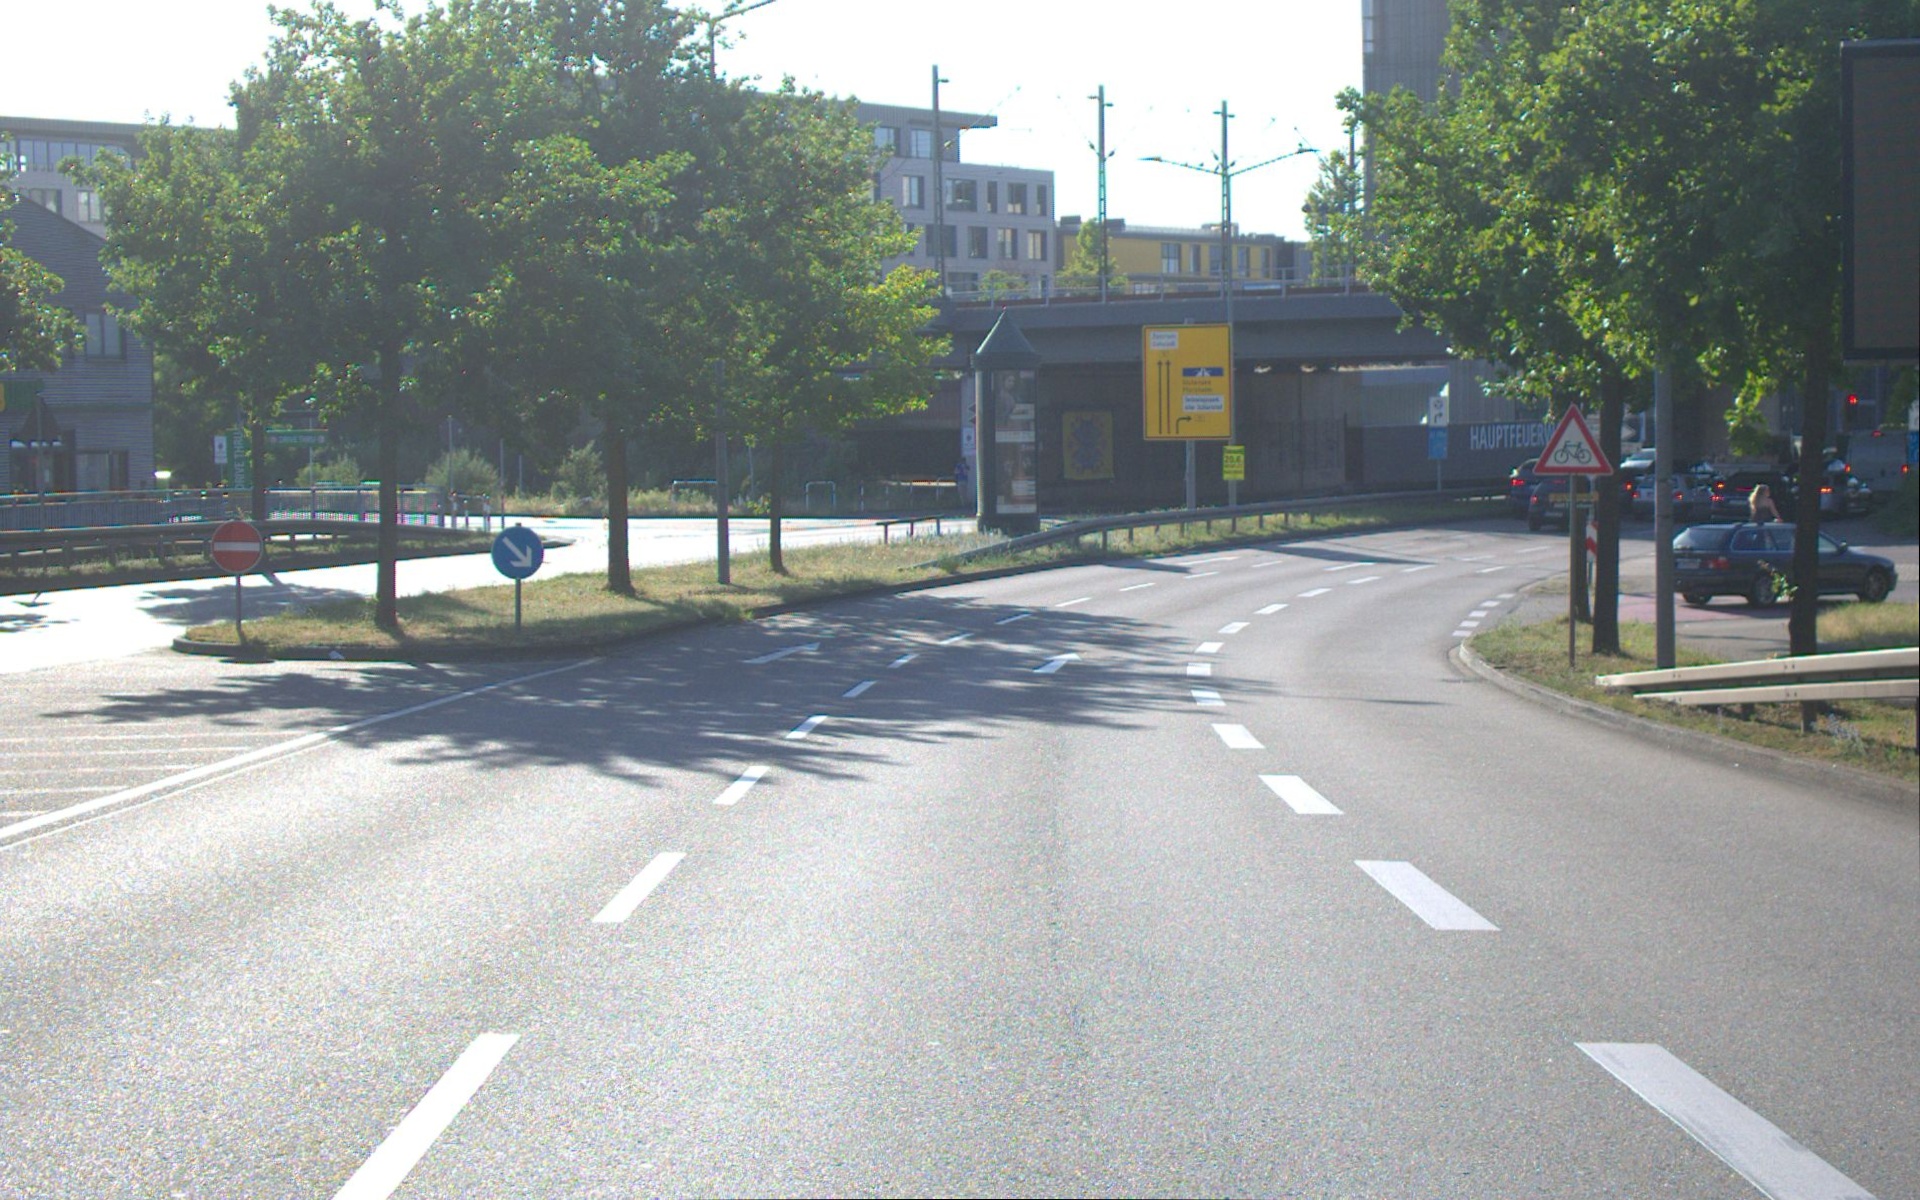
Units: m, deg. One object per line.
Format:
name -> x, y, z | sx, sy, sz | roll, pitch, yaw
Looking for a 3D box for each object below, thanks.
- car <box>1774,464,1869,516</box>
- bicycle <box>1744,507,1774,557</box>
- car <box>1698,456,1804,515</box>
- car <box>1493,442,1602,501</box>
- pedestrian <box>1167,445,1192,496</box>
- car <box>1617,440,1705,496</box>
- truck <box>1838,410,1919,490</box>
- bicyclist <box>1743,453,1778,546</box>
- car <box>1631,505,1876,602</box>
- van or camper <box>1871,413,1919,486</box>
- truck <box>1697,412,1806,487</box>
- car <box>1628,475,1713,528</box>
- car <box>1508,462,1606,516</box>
car -> 26.065, -3.331, 103.895 | 1.775, 1.490, 3.826 | 0, 2, 30
bicycle -> 16.501, -1.415, 70.982 | 0.579, 0.960, 2.885 | 1, 3, 13
car -> 22.451, -3.267, 97.470 | 1.743, 1.449, 4.599 | 2, 5, 28
car -> 17.549, -3.848, 102.550 | 1.832, 1.732, 4.455 | 1, 3, 28
pedestrian -> 8.181, -4.848, 128.256 | 0.695, 1.897, 0.664 | 2, 3, 33
car -> 23.057, -4.344, 113.017 | 1.844, 1.713, 3.995 | -2, 2, 26
truck -> 29.924, -4.809, 110.712 | 2.115, 2.511, 4.394 | 1, 2, 30
bicyclist -> 16.546, -2.090, 71.047 | 0.682, 1.900, 0.833 | 1, 3, 14
car -> 13.958, -0.824, 60.431 | 3.988, 1.503, 2.000 | -3, 2, -35
van or camper -> 35.045, -5.465, 124.556 | 1.998, 2.561, 5.906 | 2, 3, 35
truck -> 27.574, -5.246, 119.667 | 2.032, 2.547, 5.528 | 2, 3, 31
car -> 20.988, -2.909, 101.439 | 1.549, 1.418, 3.412 | -2, 2, 27
car -> 16.452, -3.073, 94.673 | 1.584, 1.403, 3.827 | 2, 3, 27
